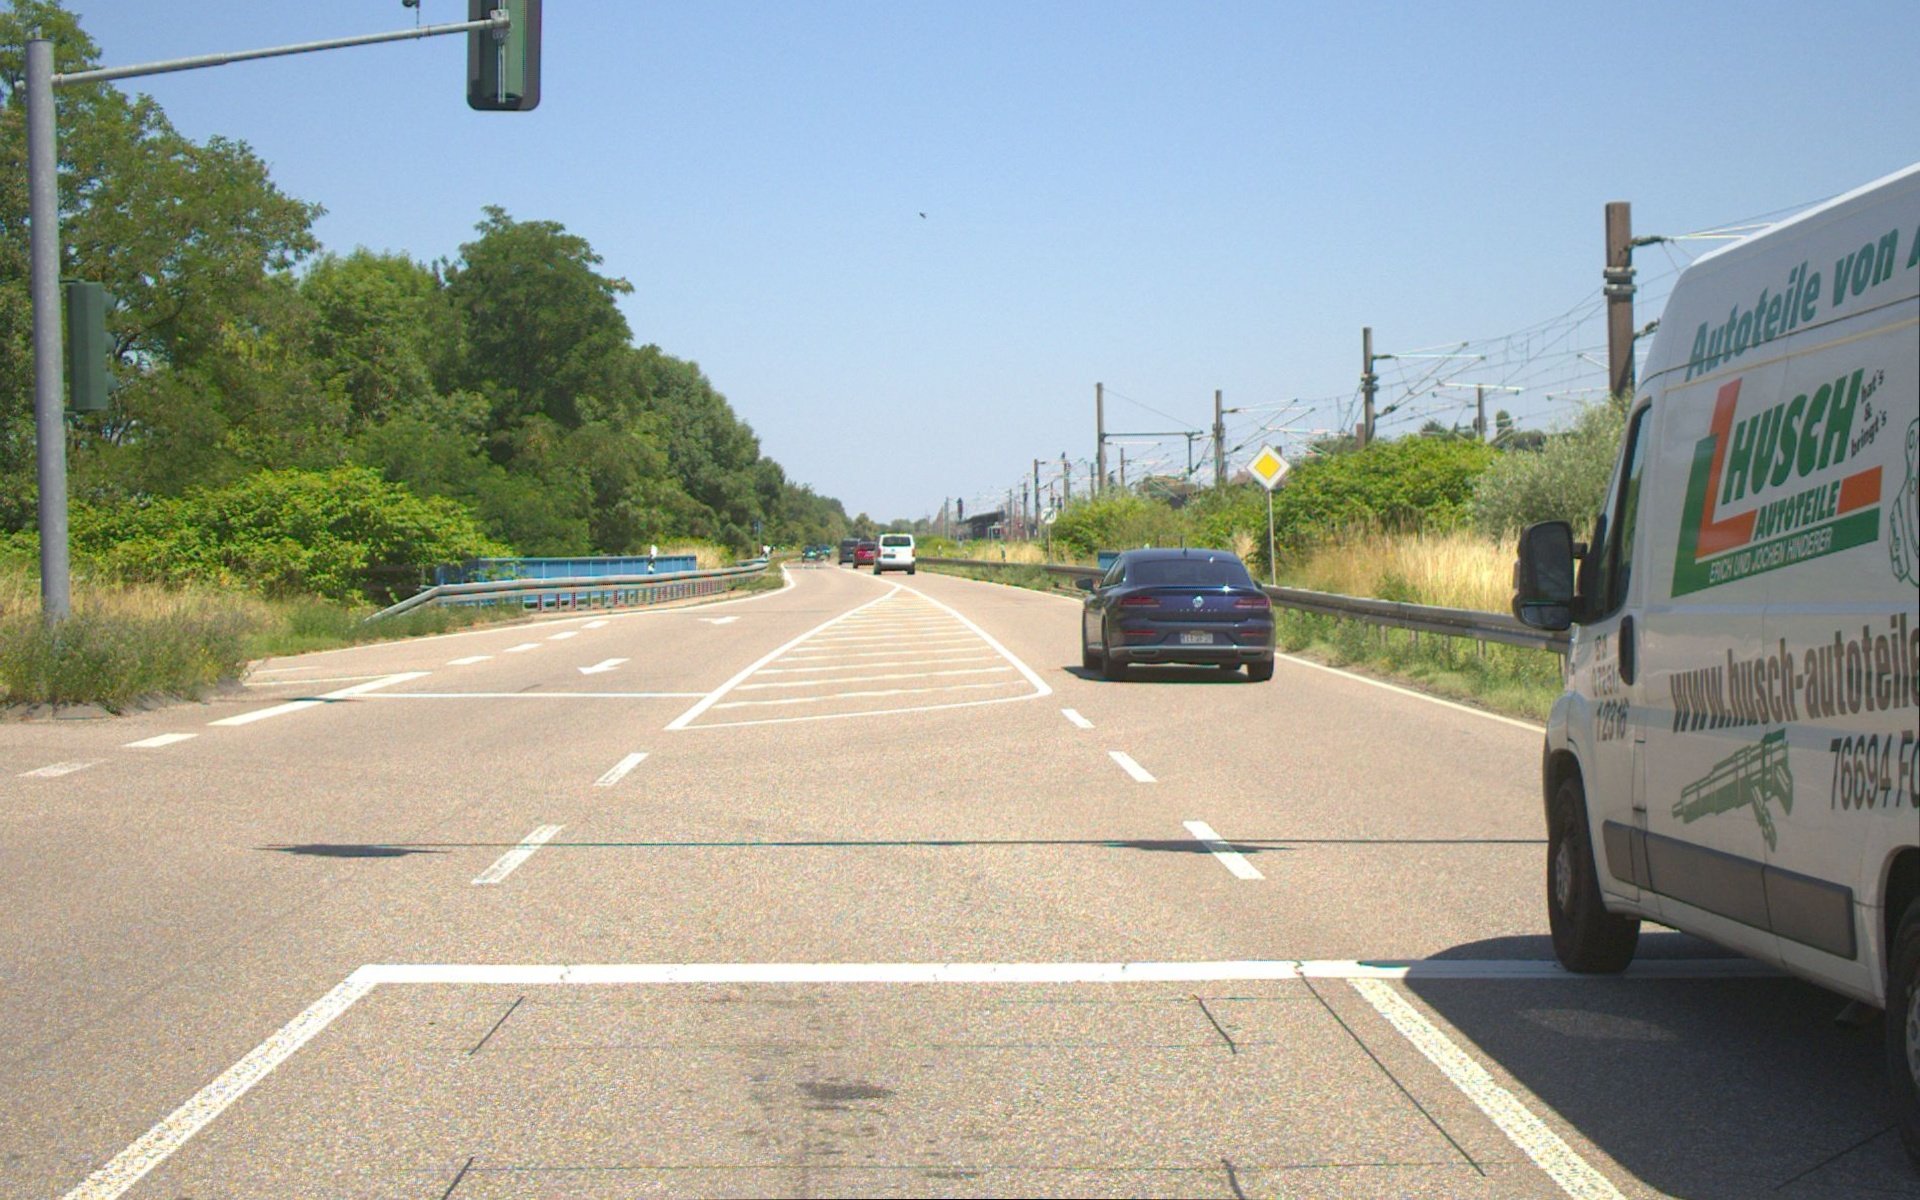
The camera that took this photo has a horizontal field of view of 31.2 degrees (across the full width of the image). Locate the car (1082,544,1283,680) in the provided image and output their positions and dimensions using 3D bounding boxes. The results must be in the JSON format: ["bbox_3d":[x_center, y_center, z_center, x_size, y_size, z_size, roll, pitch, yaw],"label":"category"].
[{"bbox_3d":[2.395,0.089,38.065,1.856,1.375,4.504,1,1,-1],"label":"car"}]

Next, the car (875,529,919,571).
[{"bbox_3d":[-3.041,-2.417,164.788,1.993,1.977,4.060,1,1,-2],"label":"car"}]

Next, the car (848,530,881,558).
[{"bbox_3d":[-5.947,-3.480,213.791,2.019,1.720,4.543,0,1,-3],"label":"car"}]

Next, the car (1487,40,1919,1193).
[{"bbox_3d":[3.220,-0.010,10.028,2.188,2.595,6.751,1,1,-1],"label":"car"}]
